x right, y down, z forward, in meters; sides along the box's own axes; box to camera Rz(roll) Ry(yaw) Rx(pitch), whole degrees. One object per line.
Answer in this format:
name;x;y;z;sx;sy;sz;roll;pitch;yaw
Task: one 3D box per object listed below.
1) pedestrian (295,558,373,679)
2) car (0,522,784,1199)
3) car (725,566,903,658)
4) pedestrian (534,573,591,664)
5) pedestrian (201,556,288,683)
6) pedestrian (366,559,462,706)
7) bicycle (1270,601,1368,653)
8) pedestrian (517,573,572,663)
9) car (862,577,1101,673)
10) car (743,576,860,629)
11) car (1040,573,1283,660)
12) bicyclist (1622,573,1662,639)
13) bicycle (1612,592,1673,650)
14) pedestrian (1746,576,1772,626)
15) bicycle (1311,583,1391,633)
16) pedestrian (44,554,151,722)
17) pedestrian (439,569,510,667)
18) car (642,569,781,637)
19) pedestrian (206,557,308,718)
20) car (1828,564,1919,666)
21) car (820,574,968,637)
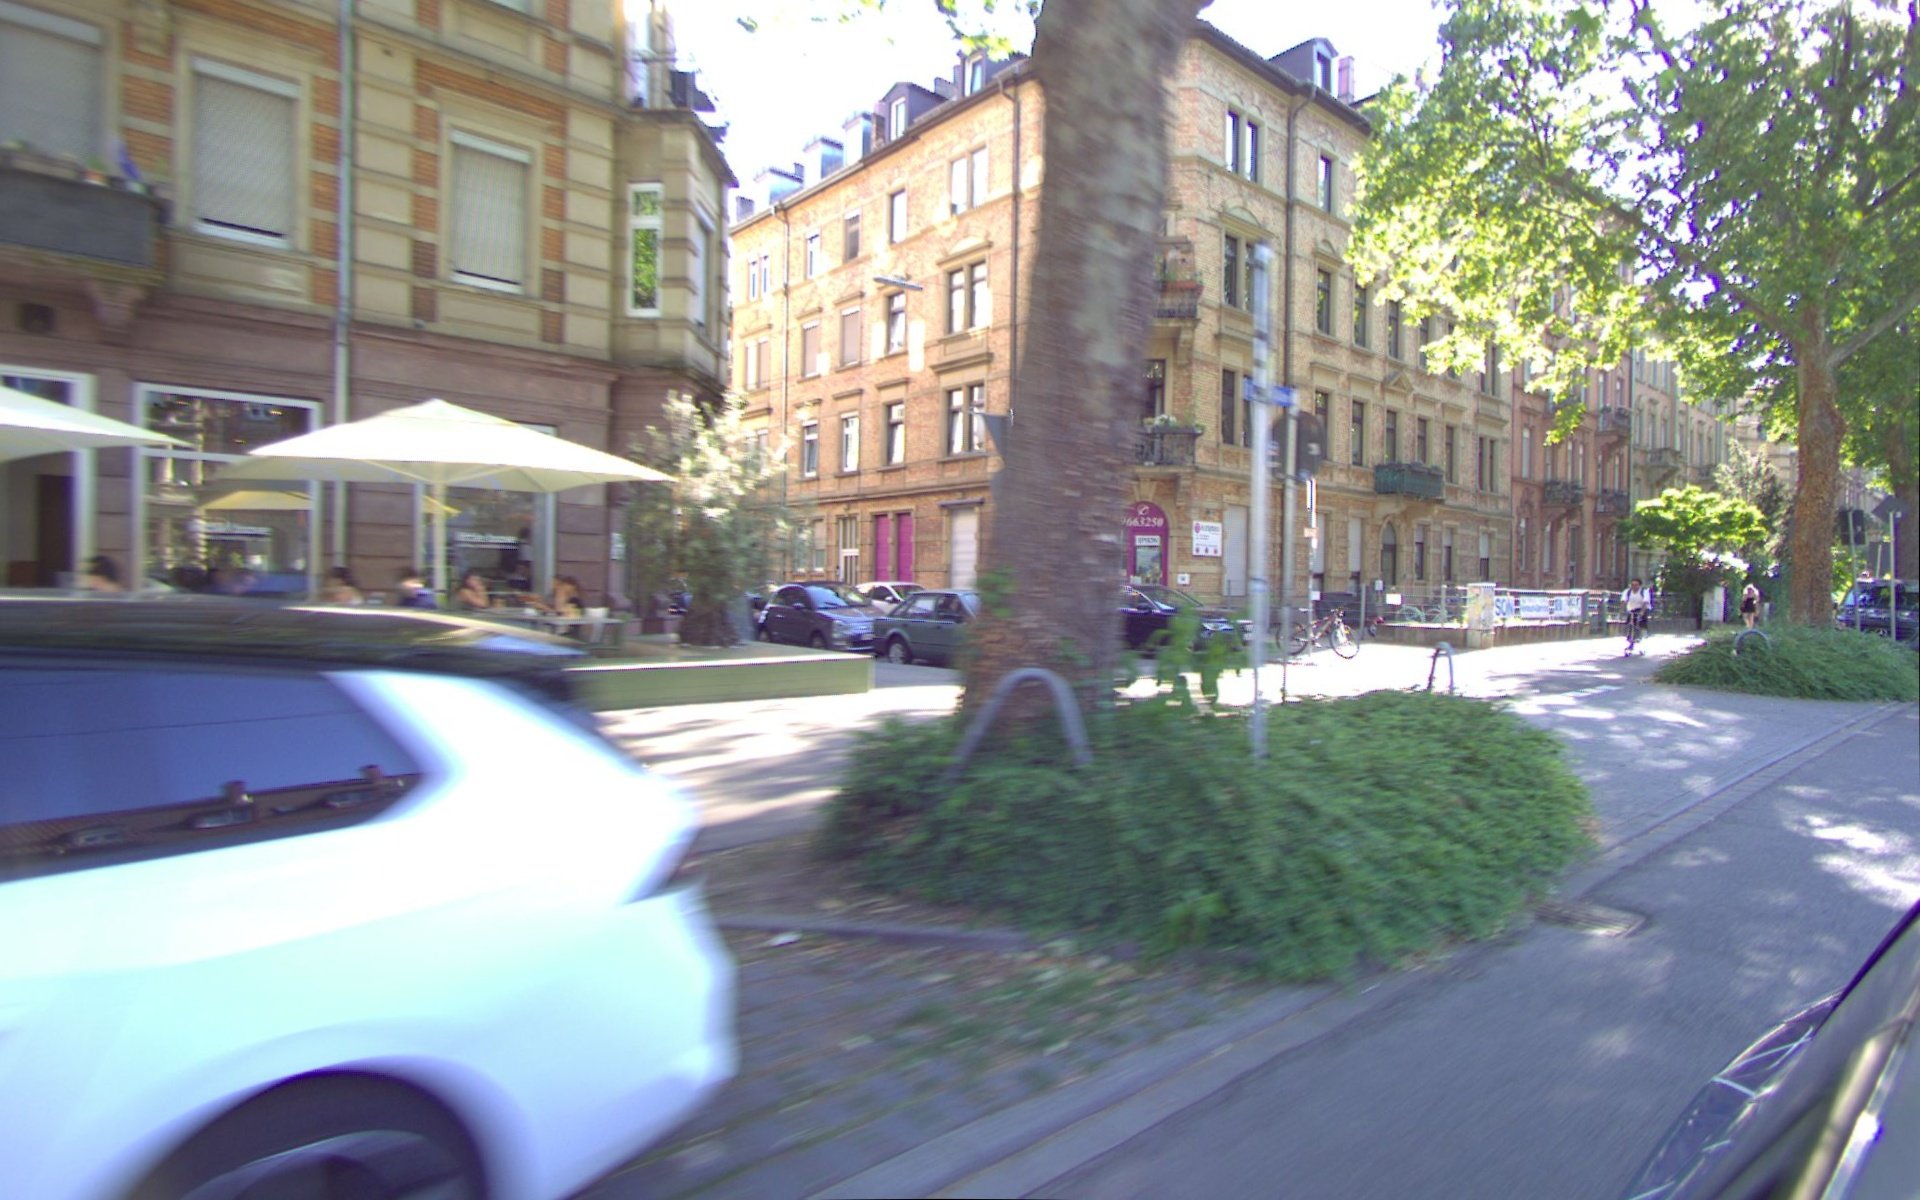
pedestrian;-7.122;0.190;11.509;0.651;1.316;0.714;0;1;-41
car;-2.682;0.632;1.381;4.566;1.496;1.805;0;1;-42
car;-3.031;0.157;20.480;1.859;1.668;3.906;0;1;-38
pedestrian;-5.018;0.222;12.780;0.517;1.116;0.557;0;1;-41
pedestrian;-7.775;0.194;10.995;0.702;1.316;0.661;0;1;-41
pedestrian;-5.153;0.283;9.546;0.651;1.316;0.714;0;1;-41
bicycle;6.961;0.498;19.651;1.687;0.928;0.594;1;1;39
pedestrian;-5.459;0.220;13.293;0.517;1.152;0.557;0;1;-41
car;0.263;0.354;17.061;1.714;1.382;3.991;2;0;-43
car;-4.924;0.026;31.002;1.712;1.513;3.994;0;1;-41
car;3.992;0.255;20.591;4.603;1.567;1.892;1;1;45
bicyclist;14.519;0.137;21.546;0.633;1.398;0.543;2;-3;-42
bicycle;14.546;0.454;21.550;2.188;1.193;0.561;1;-3;-43
pedestrian;27.183;0.040;34.426;0.607;1.648;0.531;2;1;-41
bicycle;9.620;0.184;24.980;0.467;1.168;1.868;0;1;-37
pedestrian;-7.161;0.287;8.419;0.651;1.316;0.714;0;1;-41
pedestrian;-6.117;0.215;12.742;0.651;1.186;0.714;0;1;-41
car;-6.090;0.031;24.592;1.892;1.504;3.655;0;1;-39
pedestrian;-6.102;0.300;8.782;0.651;1.316;0.714;0;1;-41
car;20.878;0.302;22.324;5.113;2.039;1.996;0;1;-42
car;-1.837;0.092;27.236;1.715;1.567;4.120;0;1;-45
